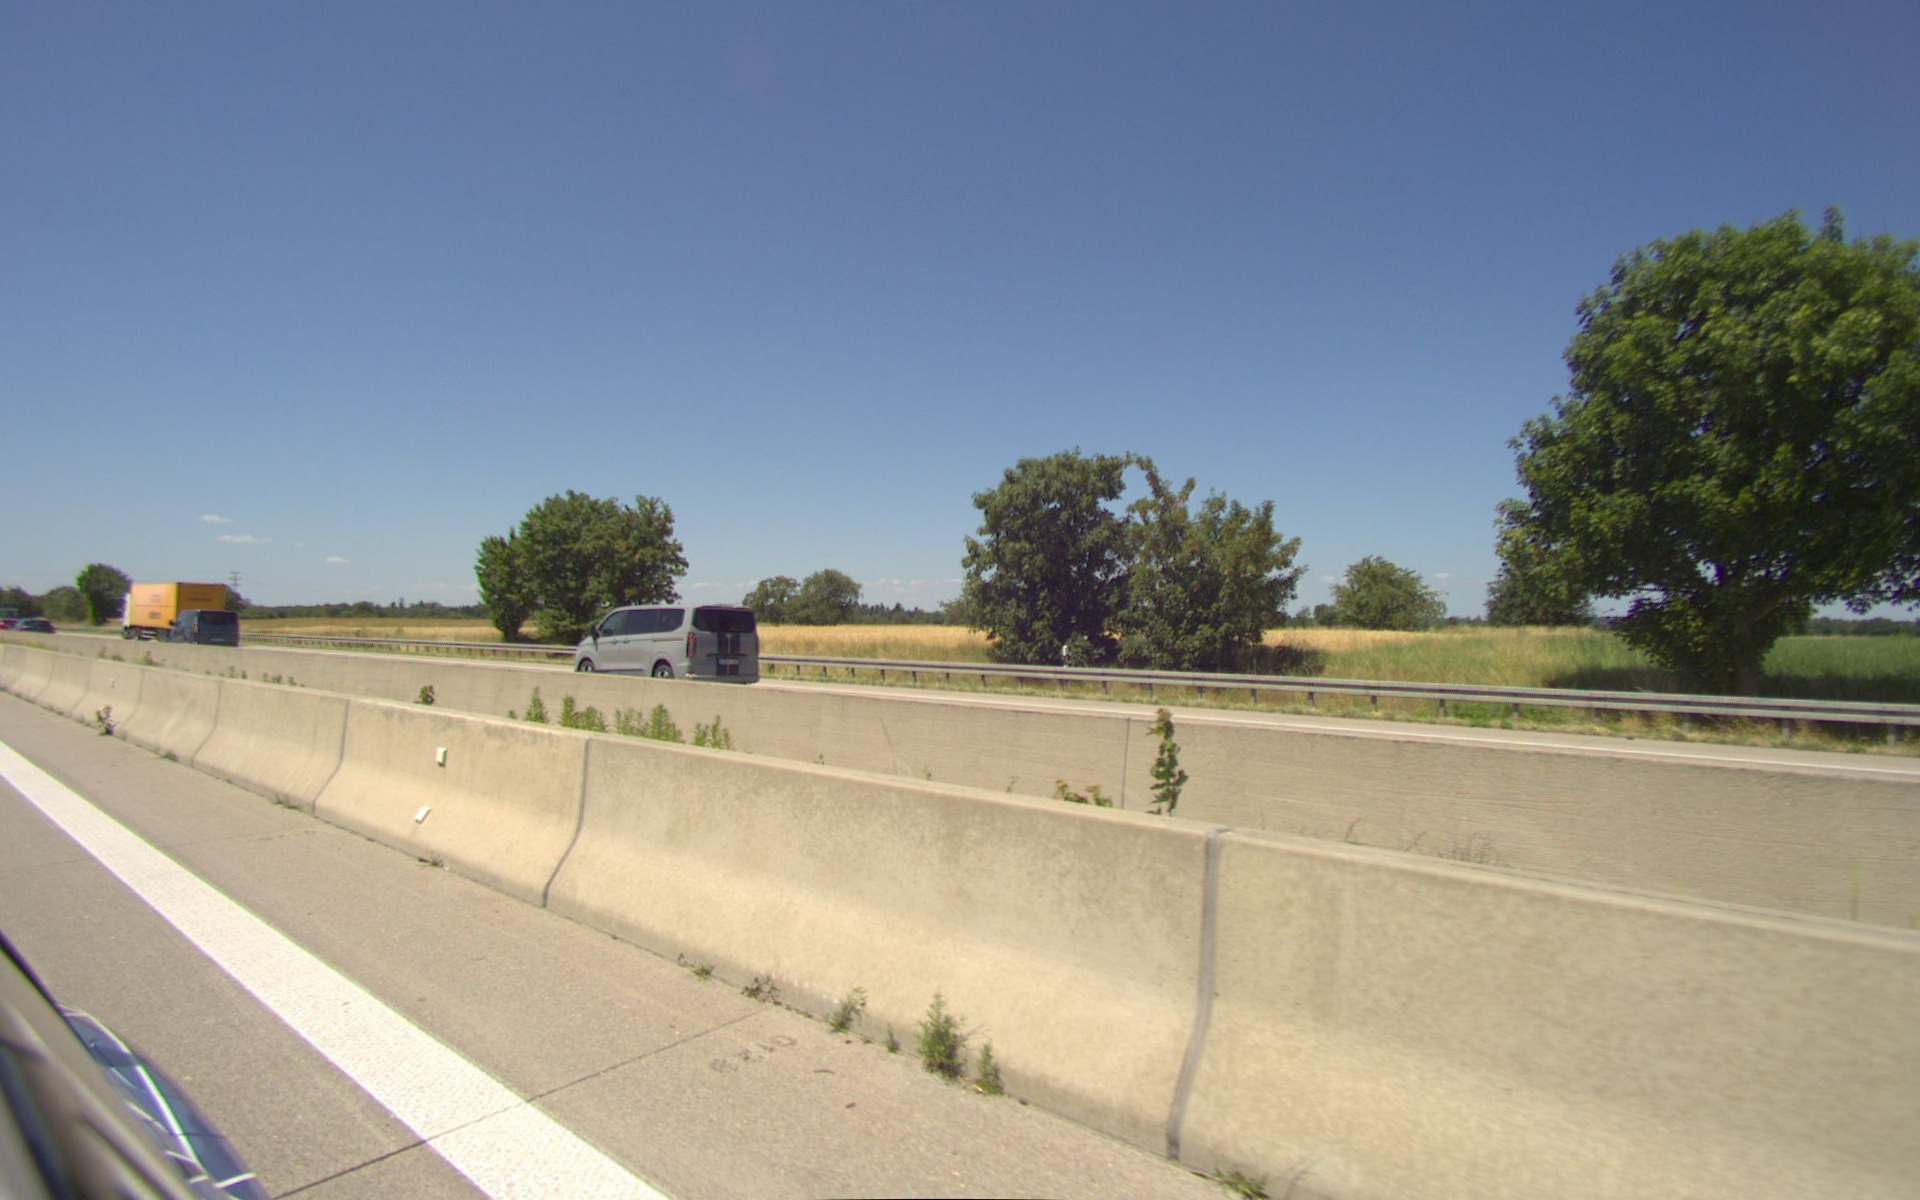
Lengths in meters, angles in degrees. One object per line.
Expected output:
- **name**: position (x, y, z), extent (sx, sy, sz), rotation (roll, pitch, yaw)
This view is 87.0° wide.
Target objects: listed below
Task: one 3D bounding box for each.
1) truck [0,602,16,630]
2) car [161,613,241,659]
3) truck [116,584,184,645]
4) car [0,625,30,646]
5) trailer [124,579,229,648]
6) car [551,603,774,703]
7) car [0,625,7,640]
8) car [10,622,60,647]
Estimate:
- **truck**: position (-126.541, 2.167, 133.136), extent (7.880, 3.539, 2.528), rotation (-1, -3, 41)
- **car**: position (-36.066, 1.706, 48.030), extent (5.514, 2.015, 1.911), rotation (-2, -1, 41)
- **truck**: position (-58.897, 1.111, 73.558), extent (5.227, 4.228, 2.838), rotation (-1, -3, 41)
- **car**: position (-66.930, 2.506, 71.007), extent (4.714, 1.405, 1.973), rotation (-1, -3, 41)
- **trailer**: position (-53.385, 0.988, 68.754), extent (14.133, 4.230, 2.843), rotation (-1, -3, 41)
- **car**: position (-6.719, 1.130, 22.460), extent (5.686, 1.954, 1.973), rotation (-1, -3, 41)
- **car**: position (-100.698, 3.370, 105.140), extent (4.510, 1.572, 1.973), rotation (-1, -4, 41)
- **car**: position (-53.581, 1.971, 58.601), extent (3.998, 1.342, 1.672), rotation (-1, 0, 41)
